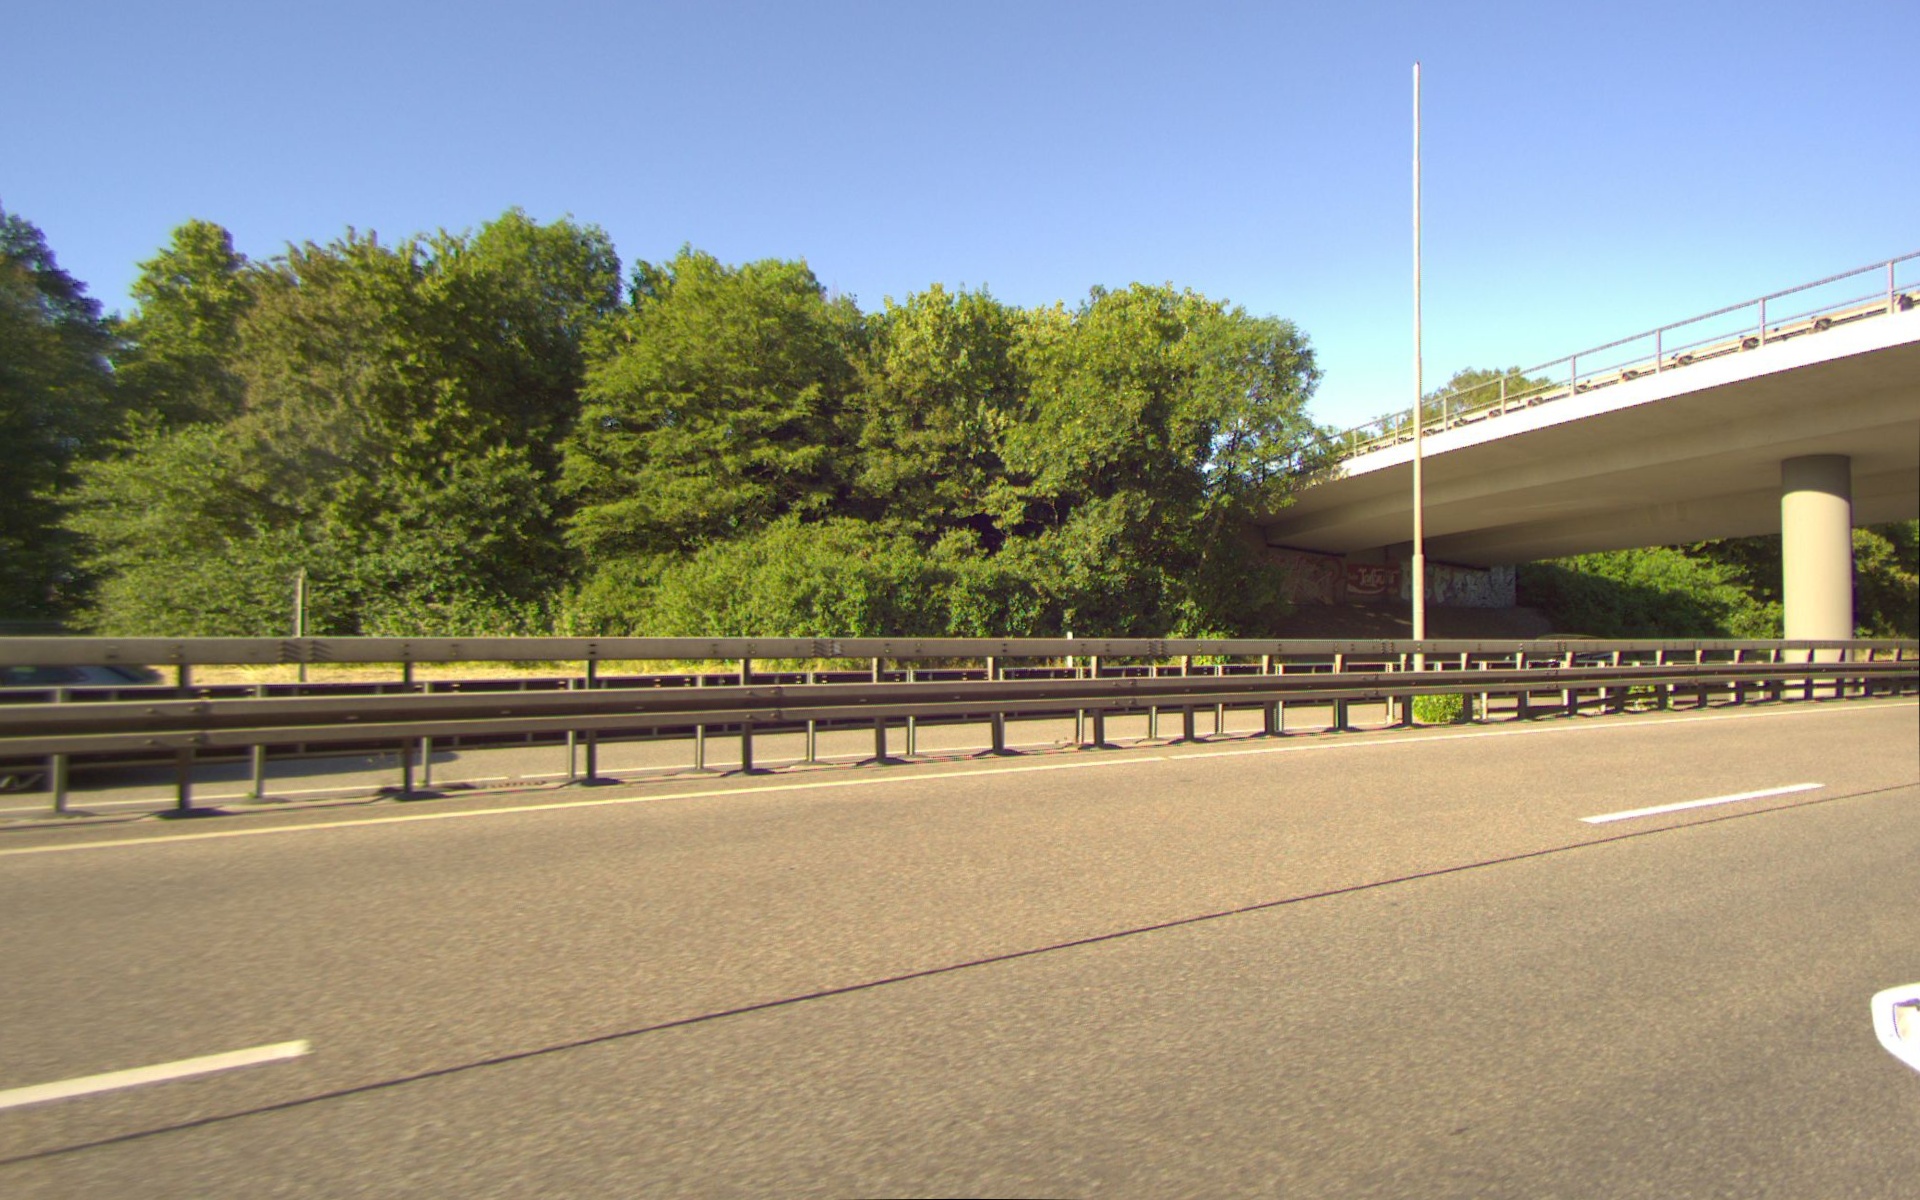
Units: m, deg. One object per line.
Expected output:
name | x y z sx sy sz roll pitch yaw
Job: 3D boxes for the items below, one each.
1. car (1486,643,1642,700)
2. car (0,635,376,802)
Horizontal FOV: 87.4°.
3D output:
car | 18.594 2.152 30.878 4.936 1.617 1.985 2 -2 -30
car | -8.958 1.171 10.745 4.651 1.528 1.919 2 -1 -32
